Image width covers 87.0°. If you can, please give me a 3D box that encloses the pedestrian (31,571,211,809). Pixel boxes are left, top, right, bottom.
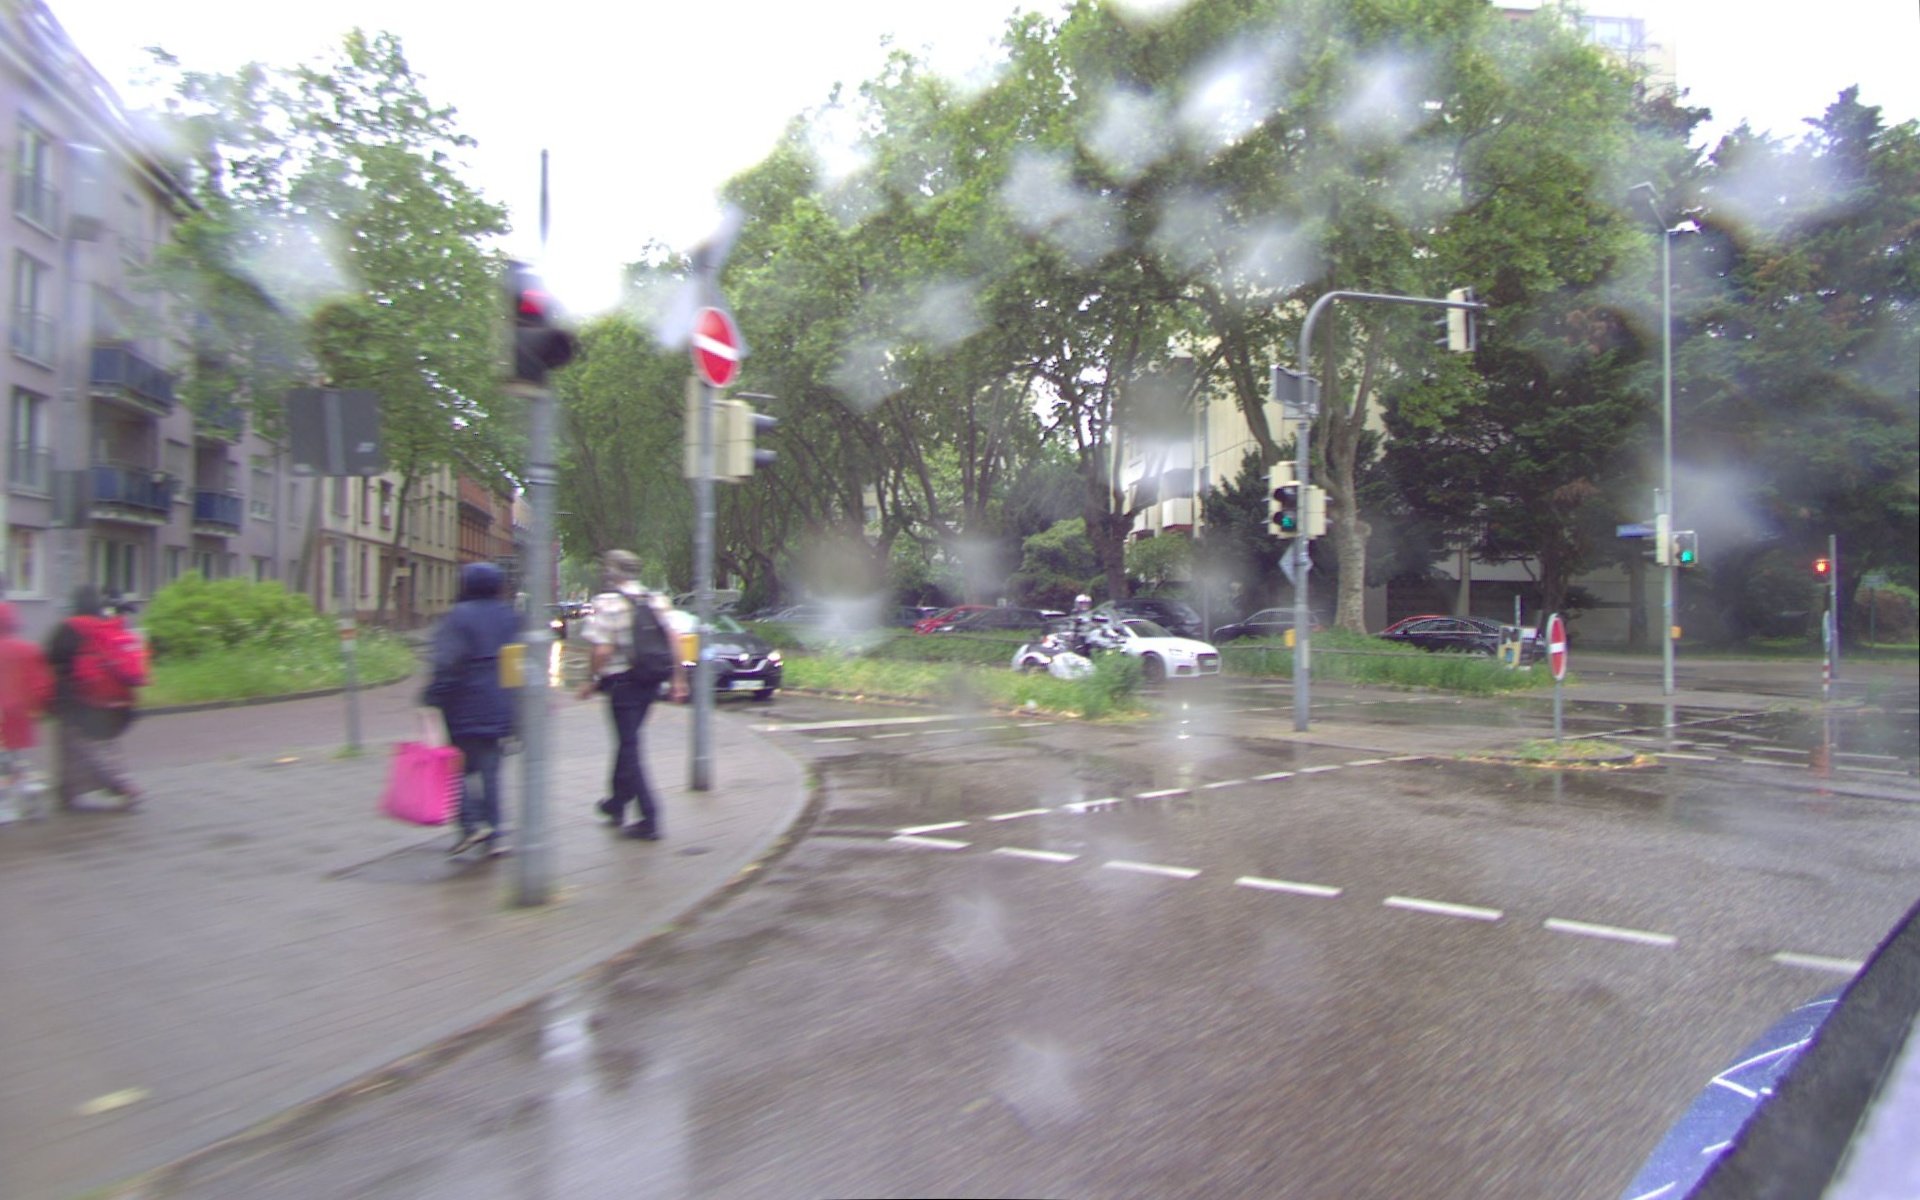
[{"bbox_3d":[-5.913,0.589,7.152,0.753,1.567,0.687,1,0,22],"label":"pedestrian"}]

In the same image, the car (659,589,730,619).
[{"bbox_3d":[-23.764,0.355,90.619,5.881,2.683,1.992,0,-1,13],"label":"car"}]

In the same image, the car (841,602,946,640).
[{"bbox_3d":[-2.647,0.836,40.163,3.762,1.440,1.890,1,0,-22],"label":"car"}]

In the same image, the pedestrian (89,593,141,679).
[{"bbox_3d":[-18.426,0.776,22.081,0.629,1.827,0.623,1,0,-13],"label":"pedestrian"}]

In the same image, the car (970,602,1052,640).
[{"bbox_3d":[2.307,0.959,46.851,1.893,1.654,4.003,1,-1,-30],"label":"car"}]

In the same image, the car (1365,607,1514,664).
[{"bbox_3d":[13.761,0.975,29.176,1.808,1.544,3.458,1,-1,-37],"label":"car"}]

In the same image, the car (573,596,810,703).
[{"bbox_3d":[-4.394,0.701,16.200,1.960,1.480,4.169,1,-1,-42],"label":"car"}]

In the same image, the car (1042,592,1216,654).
[{"bbox_3d":[4.766,0.652,28.778,4.507,1.685,1.878,0,-1,-10],"label":"car"}]

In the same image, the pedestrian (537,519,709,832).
[{"bbox_3d":[-2.169,0.432,6.456,0.796,1.804,0.995,1,0,-33],"label":"pedestrian"}]

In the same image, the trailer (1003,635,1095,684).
[{"bbox_3d":[1.668,1.101,19.084,1.008,0.852,1.481,1,-1,-39],"label":"trailer"}]

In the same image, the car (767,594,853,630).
[{"bbox_3d":[-7.082,0.571,47.625,3.917,1.676,2.003,0,-1,-10],"label":"car"}]

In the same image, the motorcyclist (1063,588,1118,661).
[{"bbox_3d":[2.517,0.468,19.567,0.744,1.368,0.753,1,-1,-40],"label":"motorcyclist"}]

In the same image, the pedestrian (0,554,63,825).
[{"bbox_3d":[-6.001,0.508,5.874,1.055,1.545,0.870,0,-1,28],"label":"pedestrian"}]

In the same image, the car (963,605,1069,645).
[{"bbox_3d":[2.116,0.930,39.426,1.749,1.451,4.397,1,-1,-36],"label":"car"}]

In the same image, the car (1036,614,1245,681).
[{"bbox_3d":[3.800,0.948,21.822,1.872,1.291,4.160,1,-1,-44],"label":"car"}]

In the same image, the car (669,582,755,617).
[{"bbox_3d":[-17.624,0.000,71.943,5.524,2.432,2.223,0,-1,15],"label":"car"}]

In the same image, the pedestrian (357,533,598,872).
[{"bbox_3d":[-2.789,0.513,5.833,0.979,1.708,1.054,1,0,-42],"label":"pedestrian"}]

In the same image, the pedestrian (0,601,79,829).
[{"bbox_3d":[-6.338,0.715,6.597,1.004,1.399,0.665,1,0,36],"label":"pedestrian"}]

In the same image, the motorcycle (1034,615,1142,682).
[{"bbox_3d":[2.455,0.905,19.625,0.865,1.230,2.072,1,-1,-40],"label":"motorcycle"}]

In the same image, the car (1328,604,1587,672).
[{"bbox_3d":[12.500,0.879,25.757,2.220,1.537,5.519,1,-1,-43],"label":"car"}]

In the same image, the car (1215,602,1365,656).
[{"bbox_3d":[10.723,0.908,33.221,1.903,1.628,4.455,1,-1,-35],"label":"car"}]
